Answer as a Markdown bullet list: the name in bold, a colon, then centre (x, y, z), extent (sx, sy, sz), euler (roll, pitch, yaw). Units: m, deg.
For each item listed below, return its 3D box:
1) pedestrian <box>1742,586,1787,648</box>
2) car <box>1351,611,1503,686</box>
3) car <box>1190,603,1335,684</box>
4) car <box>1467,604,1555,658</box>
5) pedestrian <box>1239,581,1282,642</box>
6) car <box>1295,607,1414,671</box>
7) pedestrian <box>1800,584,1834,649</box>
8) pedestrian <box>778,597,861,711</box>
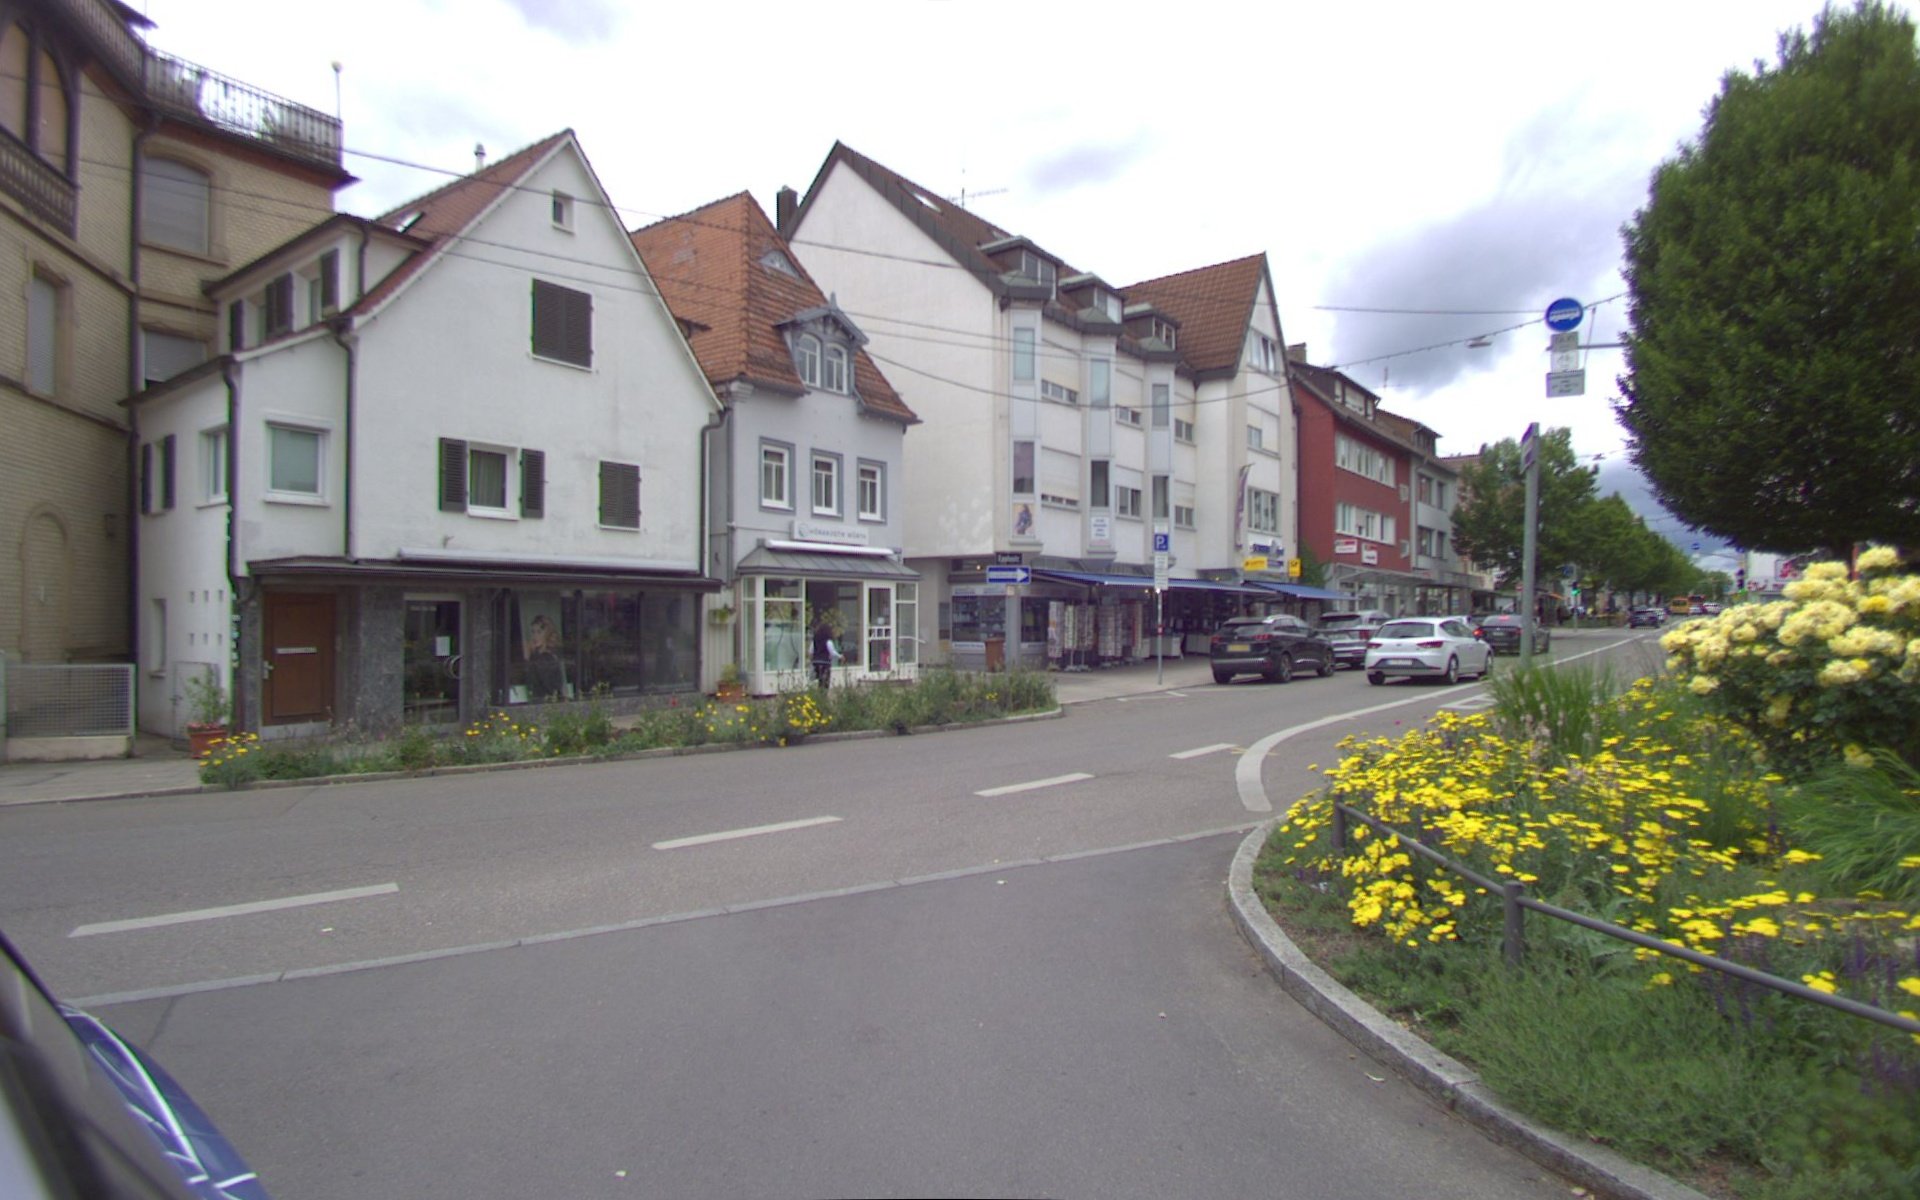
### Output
- **pedestrian**: centre (27.074, 0.591, 34.043), extent (0.883, 2.029, 1.031), euler (1, -3, -45)
- **car**: centre (10.408, 1.033, 22.442), extent (1.850, 1.445, 3.943), euler (-4, -2, 43)
- **car**: centre (7.628, 1.062, 25.312), extent (1.999, 1.868, 3.945), euler (-3, -3, 41)
- **car**: centre (19.006, 1.044, 34.834), extent (2.038, 1.688, 4.319), euler (-2, -1, 37)
- **pedestrian**: centre (10.283, 0.394, 34.645), extent (1.104, 2.029, 1.002), euler (-3, -2, 36)
- **car**: centre (11.731, 1.133, 29.927), extent (1.998, 1.745, 4.369), euler (-3, -3, 39)
- **pedestrian**: centre (27.348, 0.542, 32.305), extent (0.668, 2.029, 0.627), euler (-2, -3, 35)
- **pedestrian**: centre (-2.588, 0.979, 18.679), extent (1.104, 2.029, 1.001), euler (-3, -2, 37)
